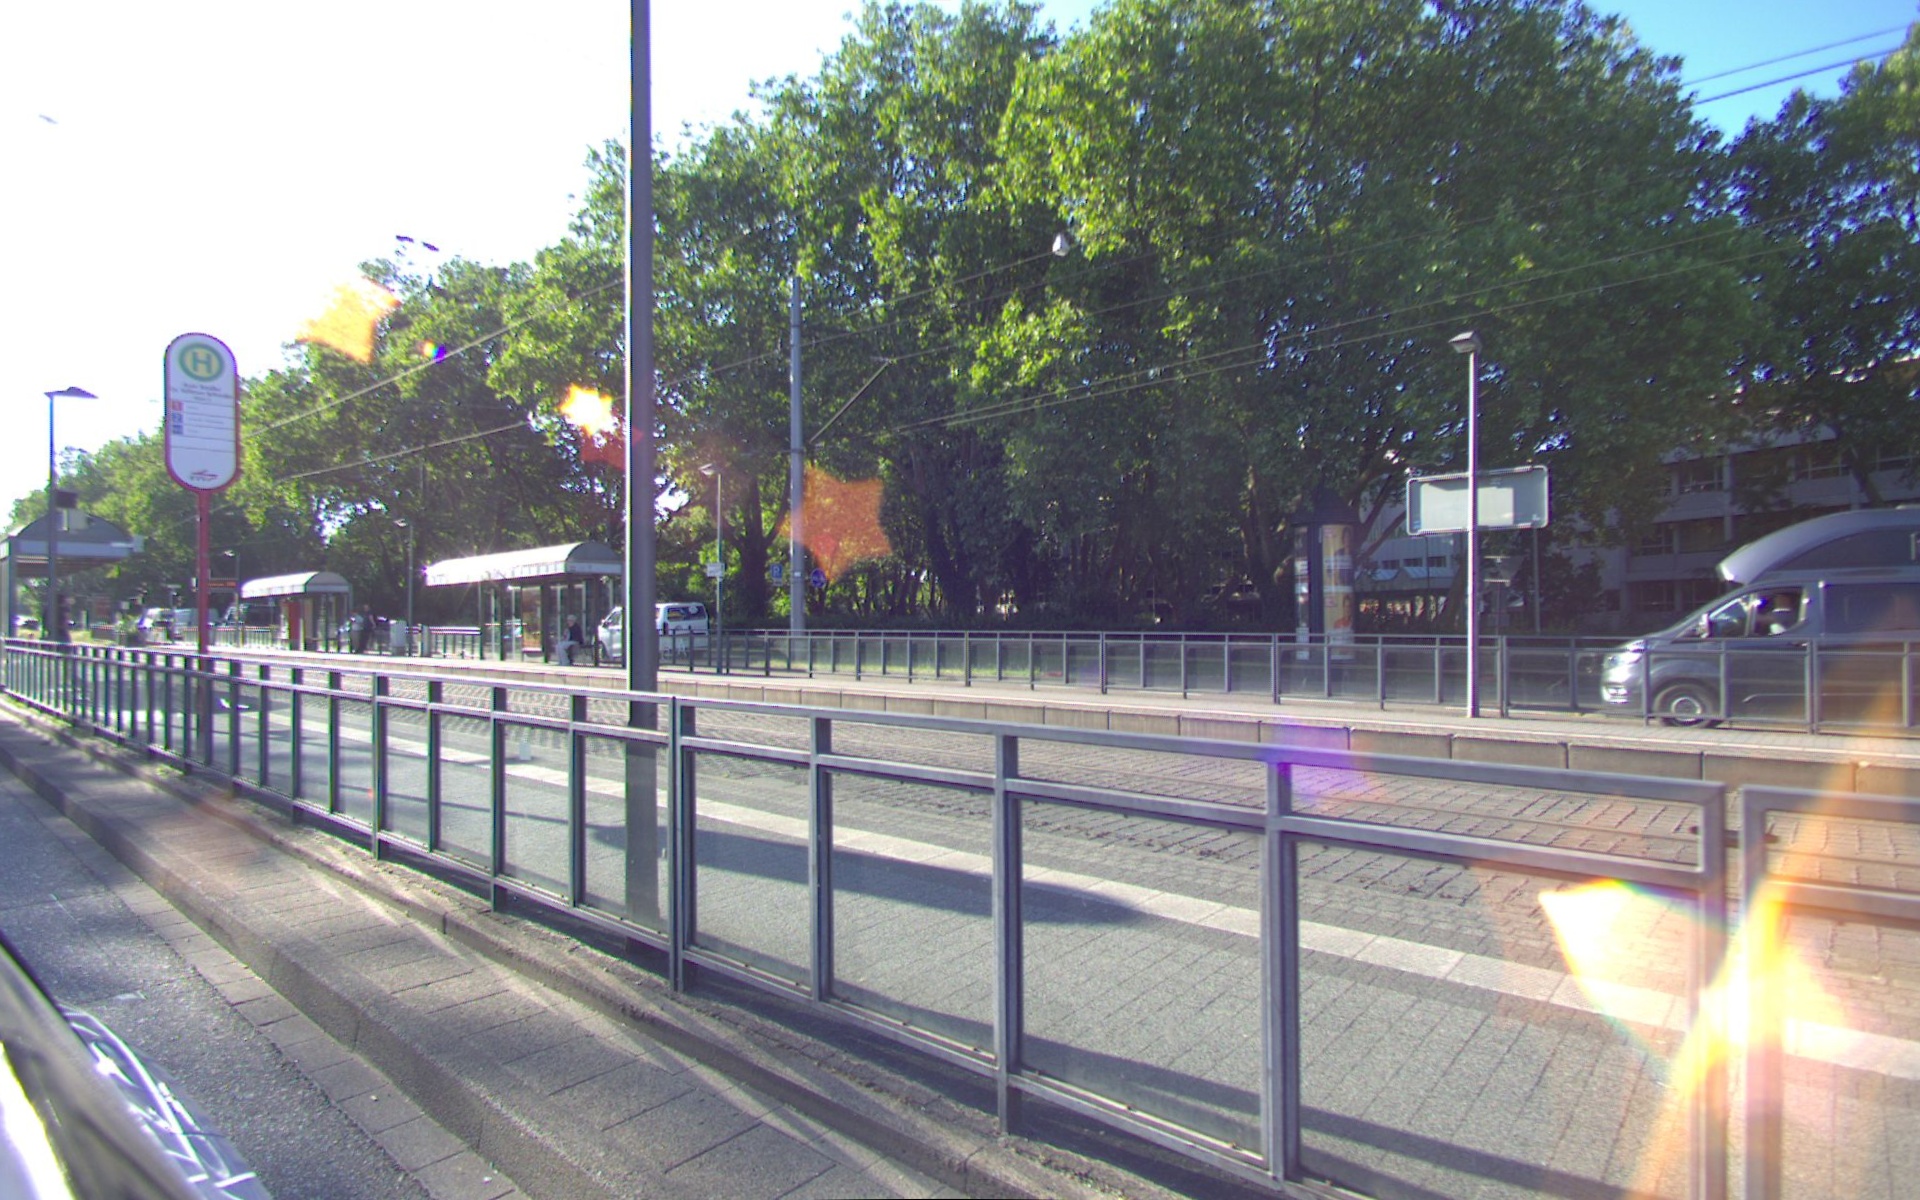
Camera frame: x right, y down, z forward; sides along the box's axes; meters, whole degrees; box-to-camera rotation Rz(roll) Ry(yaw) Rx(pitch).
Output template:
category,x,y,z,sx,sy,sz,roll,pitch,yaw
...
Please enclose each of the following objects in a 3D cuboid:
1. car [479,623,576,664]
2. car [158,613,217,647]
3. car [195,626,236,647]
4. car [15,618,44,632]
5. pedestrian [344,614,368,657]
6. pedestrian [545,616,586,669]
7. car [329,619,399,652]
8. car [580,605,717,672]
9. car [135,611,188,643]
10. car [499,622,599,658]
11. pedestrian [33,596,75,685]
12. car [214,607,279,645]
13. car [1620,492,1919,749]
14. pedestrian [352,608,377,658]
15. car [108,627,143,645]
category,x,y,z,sx,sy,sz,roll,pitch,yaw
car,-17.455,1.737,40.781,4.338,1.522,1.776,-1,-3,40
car,-61.076,2.353,79.979,6.264,2.540,2.162,0,-3,38
car,-55.848,2.756,75.894,3.262,1.524,1.636,0,-3,39
car,-119.251,3.243,129.683,4.385,1.732,1.811,0,-2,36
pedestrian,-22.390,1.311,37.494,0.626,1.555,0.586,-1,0,42
pedestrian,-10.211,1.102,26.178,0.756,1.335,0.663,-1,-4,40
car,-31.544,1.872,53.550,3.968,1.664,1.884,0,-3,38
car,-10.751,1.279,34.755,5.086,2.140,2.046,-1,-3,40
car,-67.093,2.258,85.008,6.045,2.540,2.161,-1,-3,40
car,-16.038,1.554,39.423,4.312,1.302,1.752,-1,-3,40
pedestrian,-17.624,0.777,19.684,0.588,1.690,0.590,0,-1,-44
car,-49.506,1.800,70.178,6.027,2.540,2.161,-1,-3,40
car,10.850,0.215,11.846,5.028,2.763,2.046,0,0,40
pedestrian,-21.766,1.192,36.987,0.650,1.785,0.641,-1,0,44
car,-76.828,3.342,93.177,3.879,1.567,1.721,-1,-3,40
